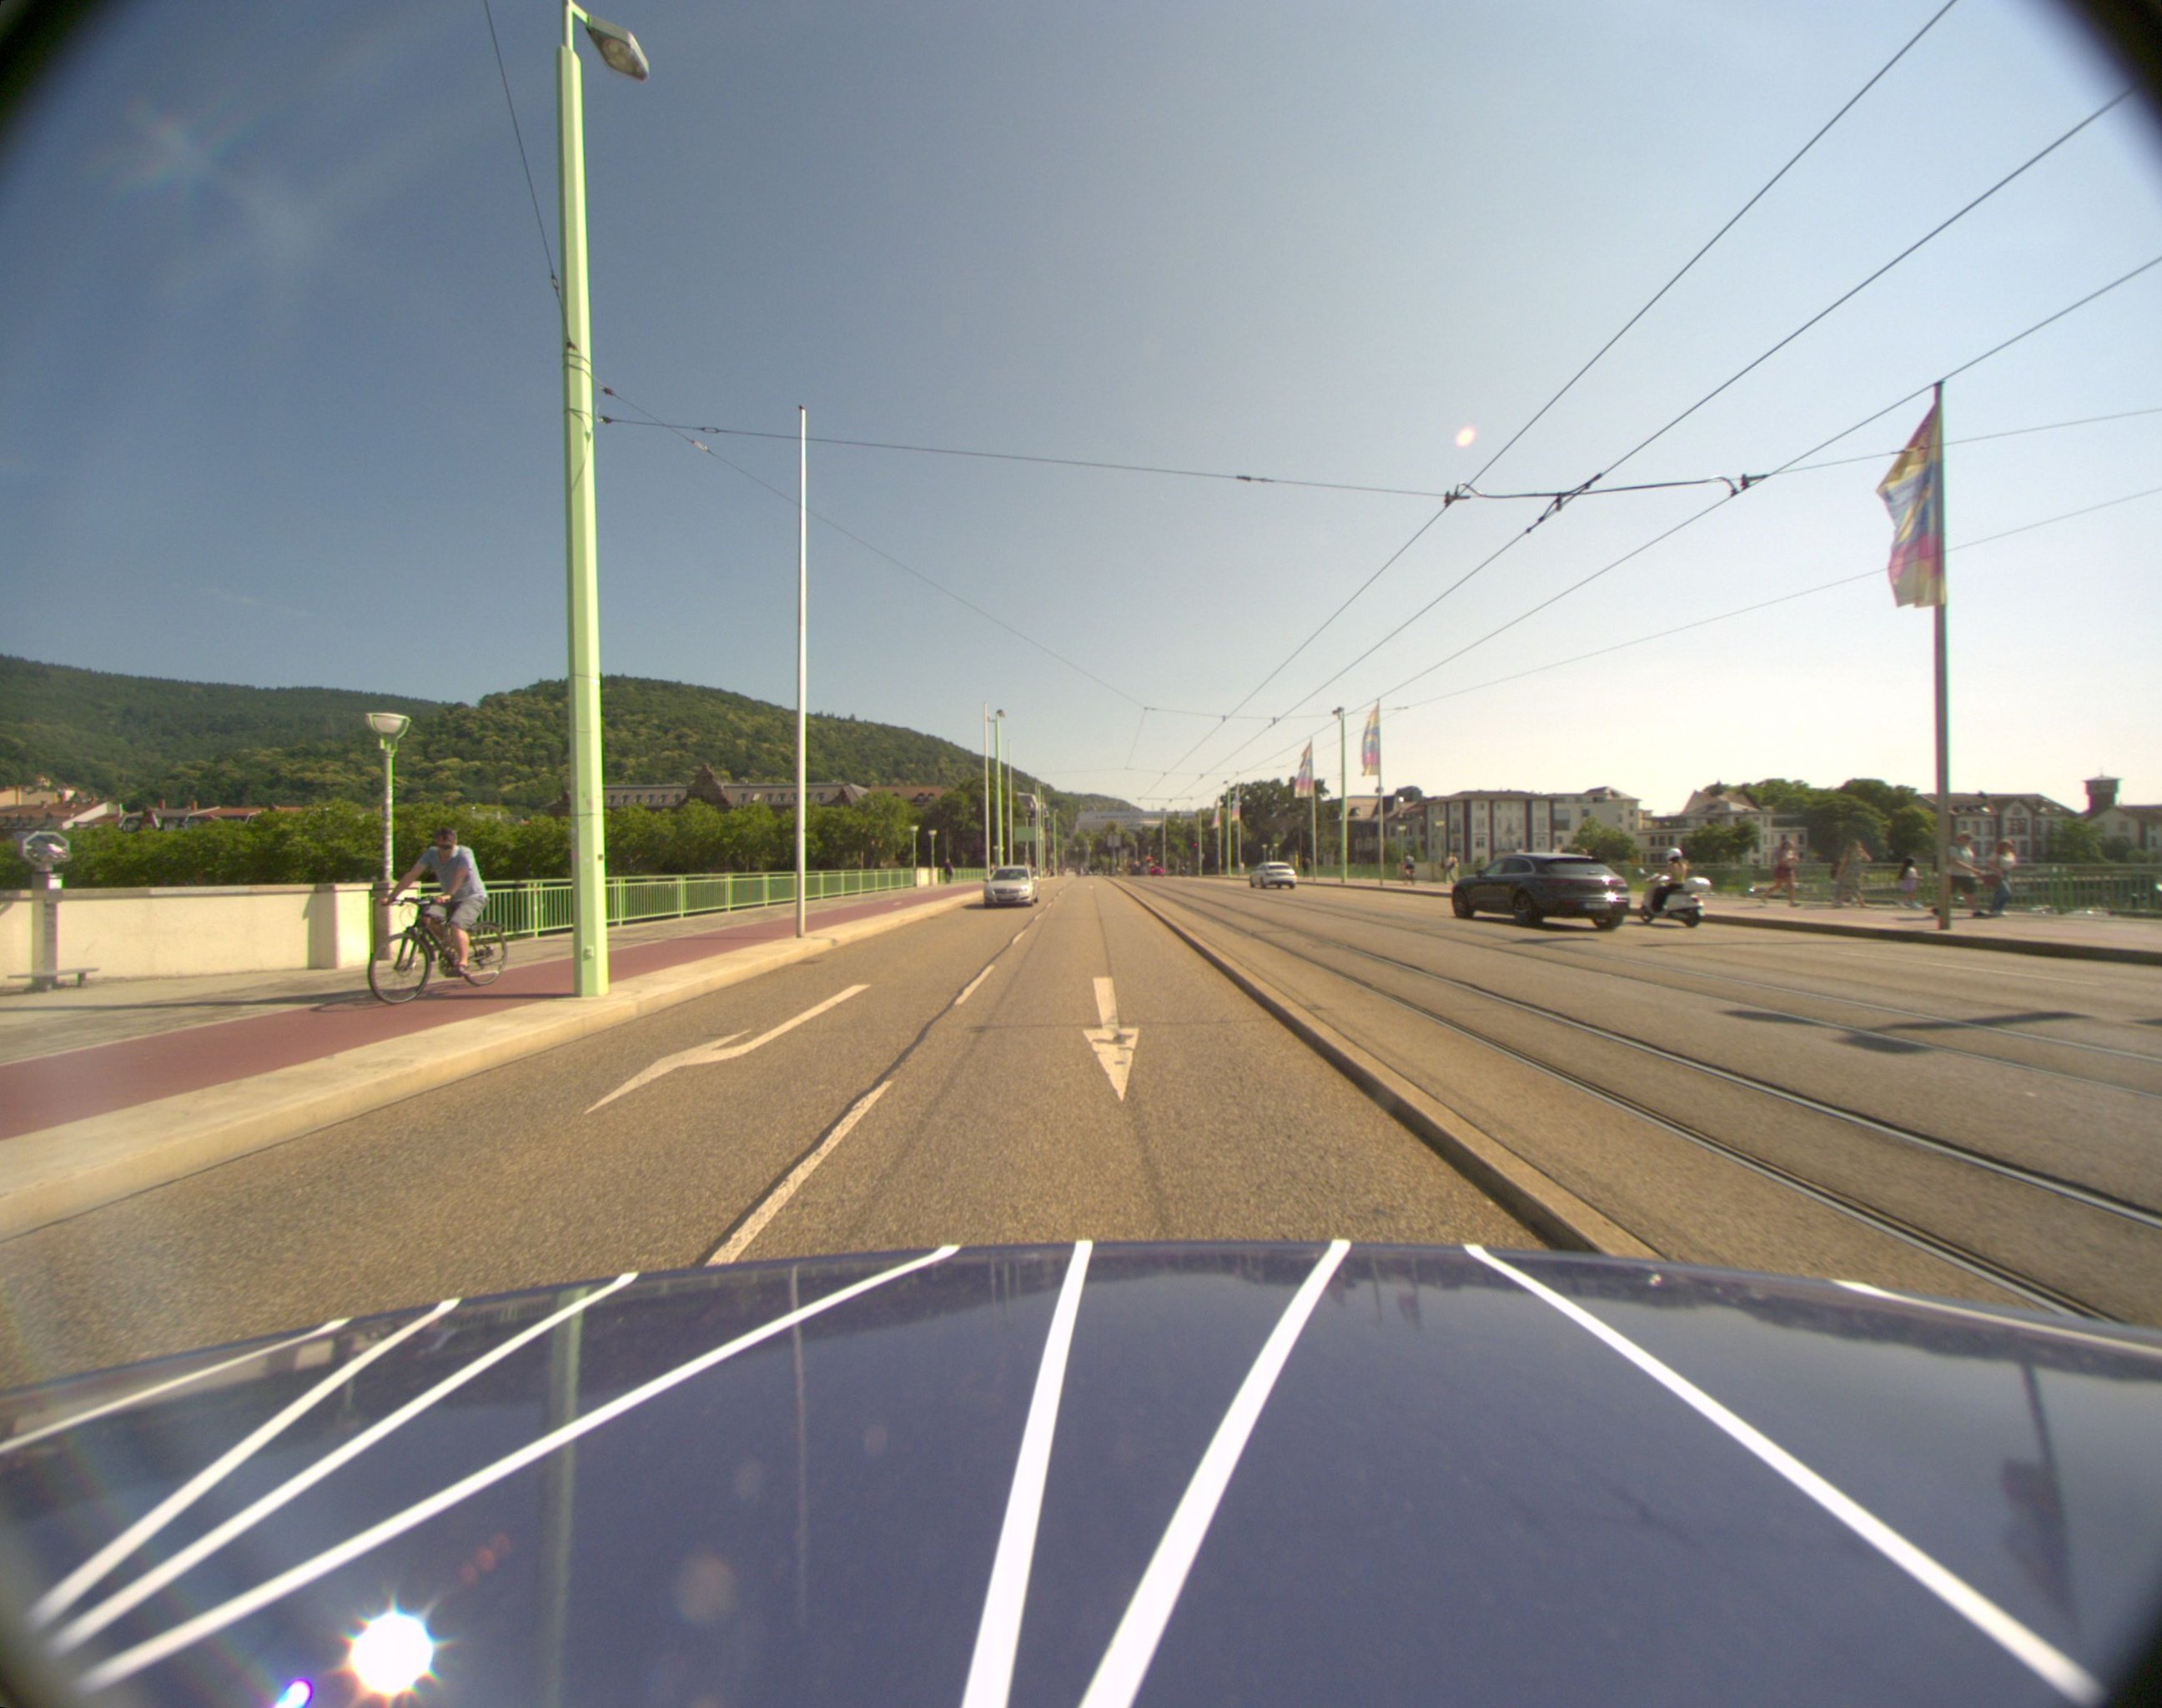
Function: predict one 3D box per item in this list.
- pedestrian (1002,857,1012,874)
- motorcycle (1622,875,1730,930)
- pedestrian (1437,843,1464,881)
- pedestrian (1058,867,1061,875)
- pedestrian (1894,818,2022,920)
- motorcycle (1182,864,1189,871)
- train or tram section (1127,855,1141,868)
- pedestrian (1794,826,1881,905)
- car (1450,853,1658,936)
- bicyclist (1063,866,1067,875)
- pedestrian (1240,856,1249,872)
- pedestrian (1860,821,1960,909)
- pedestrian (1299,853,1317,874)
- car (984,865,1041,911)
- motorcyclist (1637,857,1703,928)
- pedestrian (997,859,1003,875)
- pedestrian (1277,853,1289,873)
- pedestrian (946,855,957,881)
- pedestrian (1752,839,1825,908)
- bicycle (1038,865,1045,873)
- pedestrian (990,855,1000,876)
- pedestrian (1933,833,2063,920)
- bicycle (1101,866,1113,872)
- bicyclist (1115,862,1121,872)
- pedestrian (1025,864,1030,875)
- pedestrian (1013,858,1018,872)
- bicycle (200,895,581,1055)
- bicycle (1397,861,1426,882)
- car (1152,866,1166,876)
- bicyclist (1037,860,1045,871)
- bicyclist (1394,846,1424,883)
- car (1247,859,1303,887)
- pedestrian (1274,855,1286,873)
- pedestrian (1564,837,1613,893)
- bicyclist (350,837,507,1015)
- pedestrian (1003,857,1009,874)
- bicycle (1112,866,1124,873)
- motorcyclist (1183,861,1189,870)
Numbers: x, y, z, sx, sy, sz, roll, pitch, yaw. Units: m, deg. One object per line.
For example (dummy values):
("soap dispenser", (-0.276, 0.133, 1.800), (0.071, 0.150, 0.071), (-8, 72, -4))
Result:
("pedestrian", (-8.425, 1.339, 86.823), (1.018, 1.942, 0.939), (-1, 0, -1))
("motorcycle", (13.313, 1.057, 17.098), (0.702, 1.103, 2.179), (-1, 0, 0))
("pedestrian", (19.813, 0.421, 40.788), (0.901, 2.001, 1.042), (-1, -1, -2))
("pedestrian", (-5.254, 4.113, 183.099), (0.636, 1.880, 0.903), (-1, -1, -6))
("pedestrian", (18.063, 0.315, 15.697), (1.100, 2.001, 1.295), (-1, -1, -2))
("motorcycle", (16.425, 2.093, 119.546), (0.847, 1.019, 1.952), (-2, -1, -1))
("train or tram section", (13.781, 1.926, 198.839), (2.768, 3.383, 5.885), (0, -1, -5))
("pedestrian", (19.625, 0.300, 19.747), (1.100, 2.001, 1.129), (-1, -1, -2))
("car", (10.276, 0.802, 17.002), (1.998, 1.590, 4.338), (1, 0, 1))
("bicyclist", (-3.469, 3.569, 166.323), (0.944, 2.001, 0.830), (0, -1, -5))
("pedestrian", (20.490, 1.259, 95.224), (0.740, 1.842, 0.975), (-4, 0, -2))
("pedestrian", (19.768, 0.263, 18.151), (1.100, 2.001, 1.129), (-1, -1, -2))
("pedestrian", (19.159, 0.836, 64.150), (1.100, 1.747, 1.295), (-1, -1, -2))
("car", (-2.443, 1.194, 28.083), (1.802, 1.492, 4.497), (-2, -1, -2))
("motorcyclist", (13.265, 0.850, 17.136), (0.829, 1.564, 0.832), (-1, 0, 0))
("pedestrian", (-8.334, 1.379, 78.234), (0.524, 1.639, 0.699), (-1, 0, -5))
("pedestrian", (19.991, 0.893, 75.192), (0.740, 1.838, 1.121), (-4, -1, -2))
("pedestrian", (-8.749, 0.937, 51.259), (0.656, 1.733, 0.978), (-1, -2, -5))
("pedestrian", (18.281, 0.498, 19.654), (0.756, 1.712, 1.175), (-1, 0, -2))
("bicycle", (-5.036, 1.899, 95.856), (0.643, 1.076, 2.497), (0, -1, 2))
("pedestrian", (-8.264, 1.127, 73.001), (0.876, 2.002, 1.059), (-1, 0, -5))
("pedestrian", (19.014, 0.462, 15.801), (1.100, 1.719, 1.295), (-1, -1, -2))
("bicycle", (4.488, 2.553, 130.151), (1.917, 1.107, 0.762), (-1, 0, 10))
("bicyclist", (6.298, 2.209, 128.281), (0.770, 1.599, 0.881), (-1, 0, 16))
("pedestrian", (-7.460, 2.206, 106.466), (0.651, 1.553, 0.692), (0, -1, 1))
("pedestrian", (-7.811, 1.323, 90.461), (0.656, 1.640, 0.868), (-1, 0, -5))
("bicycle", (-6.794, 1.076, 8.003), (0.794, 1.089, 3.743), (0, 0, -4))
("bicycle", (17.820, 0.962, 40.975), (0.590, 1.090, 2.113), (-1, -1, -2))
("car", (12.172, 2.604, 118.695), (1.998, 1.506, 4.191), (-2, 0, 3))
("bicyclist", (-5.063, 1.424, 95.868), (0.912, 1.385, 1.233), (0, -1, 2))
("bicyclist", (17.727, 0.591, 41.061), (1.100, 1.949, 1.129), (-1, -1, -2))
("car", (10.683, 1.021, 42.218), (1.998, 1.401, 4.547), (-1, 0, 1))
("pedestrian", (19.612, 1.010, 74.960), (0.740, 1.774, 0.957), (-4, 0, -2))
("pedestrian", (18.577, 0.414, 27.830), (0.971, 2.001, 1.101), (-1, -1, -5))
("bicyclist", (-6.794, 0.700, 7.982), (0.675, 1.733, 1.150), (0, 0, -4))
("pedestrian", (-7.690, 1.185, 78.154), (0.587, 1.783, 0.632), (-1, 0, -4))
("bicycle", (6.250, 2.577, 128.285), (1.916, 1.107, 0.762), (-1, 0, 19))
("motorcyclist", (16.495, 1.867, 119.198), (0.847, 1.393, 0.898), (-2, 0, -2))
